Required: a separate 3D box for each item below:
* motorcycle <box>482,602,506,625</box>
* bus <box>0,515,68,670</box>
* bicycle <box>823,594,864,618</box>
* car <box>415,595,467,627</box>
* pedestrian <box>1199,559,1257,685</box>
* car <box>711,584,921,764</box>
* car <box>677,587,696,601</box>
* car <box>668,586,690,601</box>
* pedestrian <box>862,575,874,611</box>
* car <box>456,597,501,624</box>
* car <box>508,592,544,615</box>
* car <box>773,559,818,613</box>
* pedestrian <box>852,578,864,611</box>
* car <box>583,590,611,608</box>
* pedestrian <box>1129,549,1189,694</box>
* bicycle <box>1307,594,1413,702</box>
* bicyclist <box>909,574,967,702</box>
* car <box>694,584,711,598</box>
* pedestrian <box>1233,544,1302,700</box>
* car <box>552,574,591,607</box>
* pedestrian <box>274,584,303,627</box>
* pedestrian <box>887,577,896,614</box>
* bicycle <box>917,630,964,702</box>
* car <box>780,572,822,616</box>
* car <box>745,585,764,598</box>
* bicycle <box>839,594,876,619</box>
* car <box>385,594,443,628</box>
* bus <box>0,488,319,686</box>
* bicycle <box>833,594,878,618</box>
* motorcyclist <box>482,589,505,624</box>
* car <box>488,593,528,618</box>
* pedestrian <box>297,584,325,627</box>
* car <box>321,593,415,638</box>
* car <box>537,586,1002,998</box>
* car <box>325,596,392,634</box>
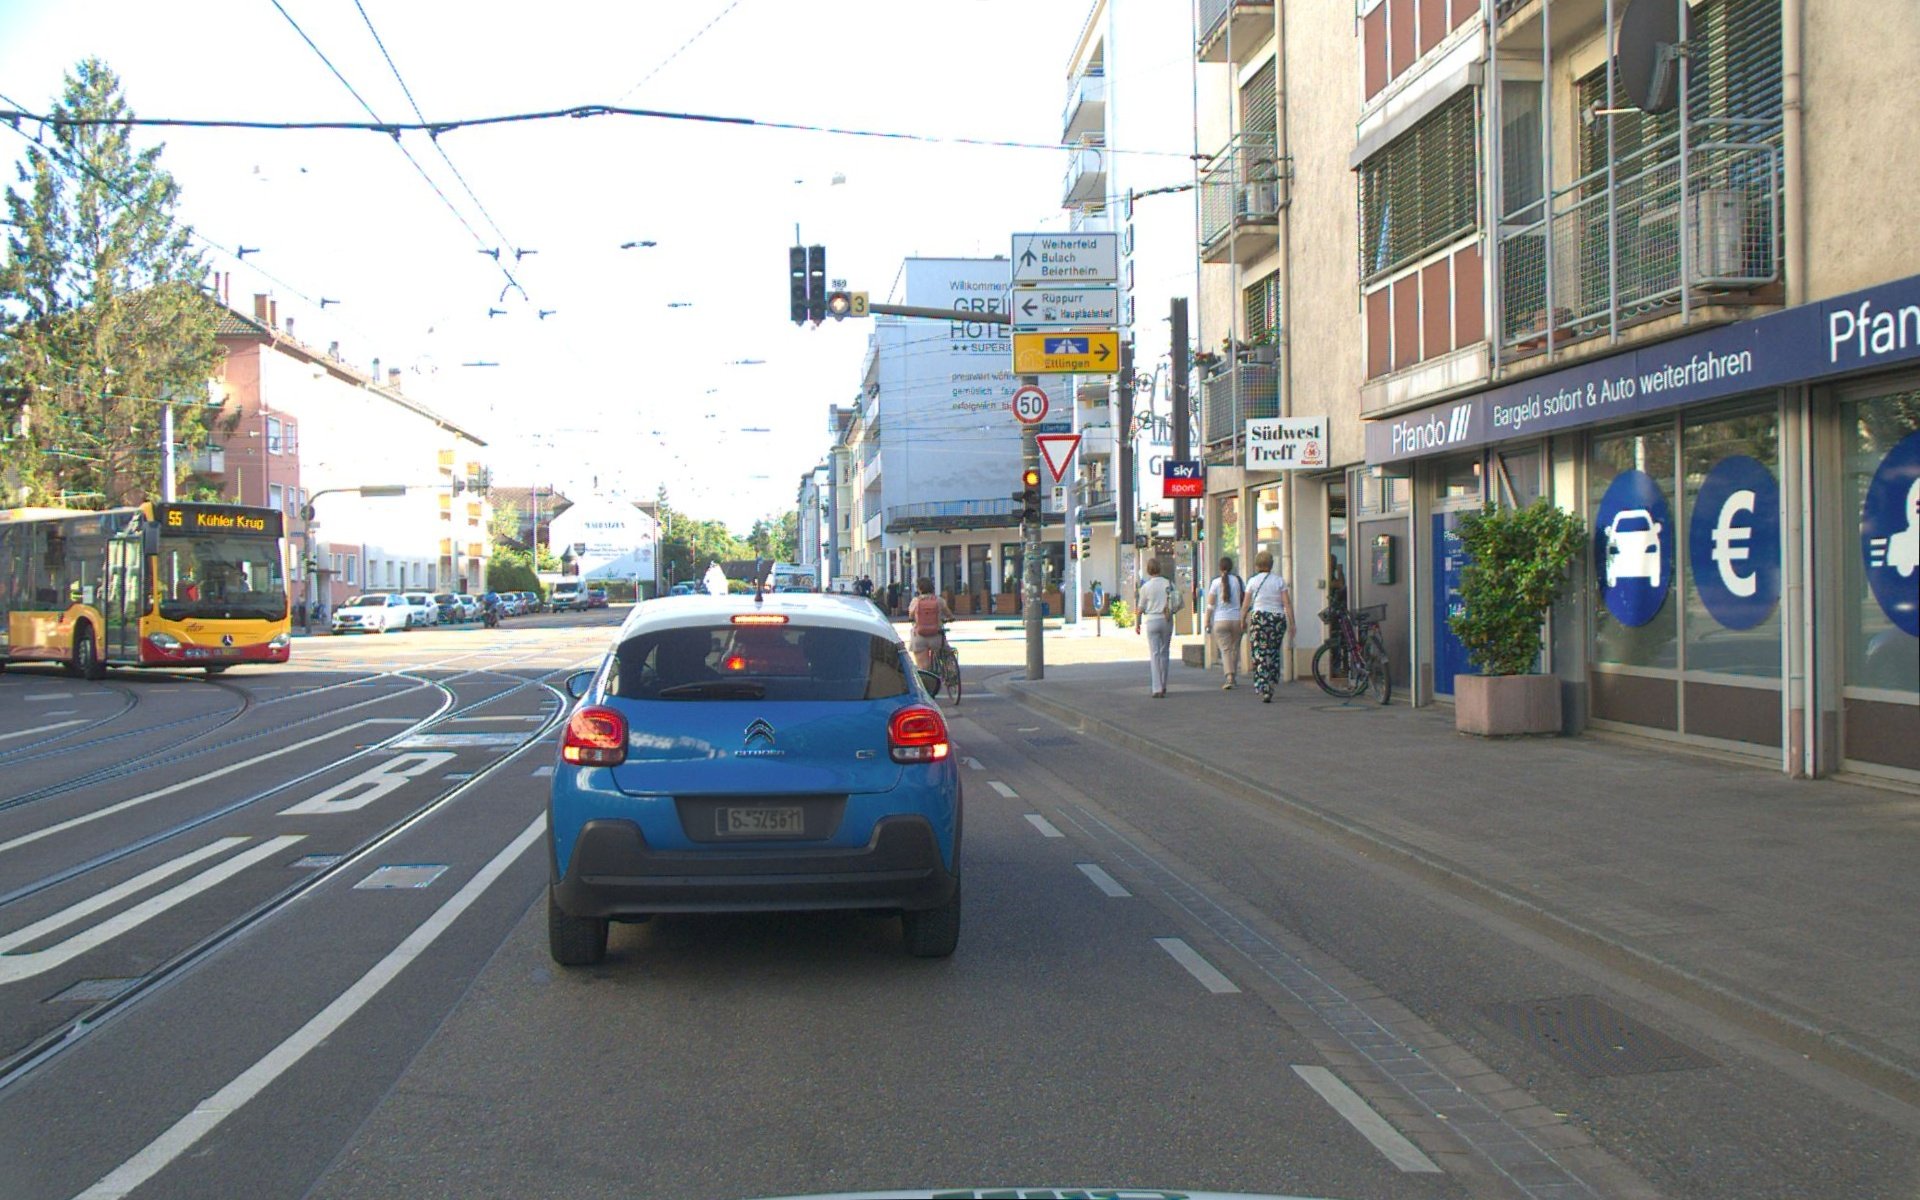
[{"bbox_3d":[-19.208,0.557,68.195,0.603,0.879,1.670,-1,1,-3],"label":"motorcycle"},{"bbox_3d":[-23.145,-0.120,36.387,7.413,3.217,2.741,-1,1,31],"label":"bus"},{"bbox_3d":[-4.943,0.249,70.180,1.685,0.973,0.701,-1,0,-2],"label":"bicycle"},{"bbox_3d":[-27.085,0.559,86.426,1.875,1.523,3.994,-1,1,-7],"label":"car"},{"bbox_3d":[3.381,0.264,20.899,0.531,1.533,0.610,-3,2,-5],"label":"pedestrian"},{"bbox_3d":[-1.295,0.585,15.620,1.704,1.445,3.998,-1,1,-3],"label":"car"},{"bbox_3d":[-30.920,-0.690,187.050,1.983,1.552,3.994,-1,1,-7],"label":"car"},{"bbox_3d":[-28.831,-0.694,169.868,1.983,1.552,3.994,-1,1,-7],"label":"car"},{"bbox_3d":[-4.058,-0.299,73.208,0.482,1.583,0.383,-1,0,-7],"label":"pedestrian"},{"bbox_3d":[-28.525,0.612,98.064,1.875,1.523,3.994,-1,1,-7],"label":"car"},{"bbox_3d":[-30.553,0.235,116.460,1.834,1.601,3.994,-1,1,-7],"label":"car"},{"bbox_3d":[-7.376,-0.617,74.069,1.955,2.366,3.994,0,0,-6],"label":"car"},{"bbox_3d":[-4.875,-0.278,79.335,0.482,1.583,0.646,-1,0,-9],"label":"pedestrian"},{"bbox_3d":[-31.823,-0.084,145.028,1.983,1.552,3.994,-1,1,-7],"label":"car"},{"bbox_3d":[2.399,0.246,19.970,0.531,1.701,0.623,-3,2,-5],"label":"pedestrian"},{"bbox_3d":[4.323,0.487,17.985,0.520,1.091,1.808,-1,1,-7],"label":"bicycle"},{"bbox_3d":[-0.300,0.496,22.277,0.712,1.674,0.789,-1,0,-4],"label":"bicyclist"},{"bbox_3d":[-33.584,-1.218,215.739,1.959,1.713,3.987,-2,1,-13],"label":"car"},{"bbox_3d":[3.467,0.243,18.687,0.531,1.701,0.649,-3,1,-5],"label":"pedestrian"},{"bbox_3d":[-28.093,-0.681,119.727,2.165,2.290,4.670,-1,1,-7],"label":"car"},{"bbox_3d":[-27.202,0.236,66.994,0.826,1.720,0.737,-1,0,-1],"label":"pedestrian"},{"bbox_3d":[-2.982,-0.199,72.014,0.279,1.583,0.304,-1,0,-12],"label":"pedestrian"},{"bbox_3d":[-0.281,0.885,22.685,0.489,0.879,1.747,-1,1,-5],"label":"bicycle"},{"bbox_3d":[-6.671,-0.247,69.191,1.699,1.780,3.209,0,0,-6],"label":"car"},{"bbox_3d":[-20.373,-0.868,163.791,1.723,1.281,3.823,-1,1,-10],"label":"car"},{"bbox_3d":[-4.202,0.255,67.803,1.473,0.973,0.701,-1,0,-2],"label":"bicycle"},{"bbox_3d":[-26.260,0.523,79.685,1.875,1.523,3.994,-1,1,-7],"label":"car"},{"bbox_3d":[-16.014,-0.204,31.092,10.000,3.213,2.719,-1,1,39],"label":"bus"},{"bbox_3d":[-4.352,0.250,68.855,1.836,0.973,0.701,-1,0,-2],"label":"bicycle"},{"bbox_3d":[-19.194,0.266,68.039,0.704,1.402,0.911,-1,0,-3],"label":"motorcyclist"},{"bbox_3d":[-29.083,0.322,106.444,1.875,1.523,3.994,-1,1,-7],"label":"car"},{"bbox_3d":[-26.348,0.235,67.154,0.826,1.720,0.737,-1,0,-1],"label":"pedestrian"},{"bbox_3d":[-22.205,0.547,62.249,1.811,1.601,4.402,-1,1,2],"label":"car"},{"bbox_3d":[-1.001,0.682,8.112,1.712,1.488,3.992,0,0,-9],"label":"car"},{"bbox_3d":[-25.186,0.617,69.387,1.875,1.458,3.992,-1,1,-9],"label":"car"}]
